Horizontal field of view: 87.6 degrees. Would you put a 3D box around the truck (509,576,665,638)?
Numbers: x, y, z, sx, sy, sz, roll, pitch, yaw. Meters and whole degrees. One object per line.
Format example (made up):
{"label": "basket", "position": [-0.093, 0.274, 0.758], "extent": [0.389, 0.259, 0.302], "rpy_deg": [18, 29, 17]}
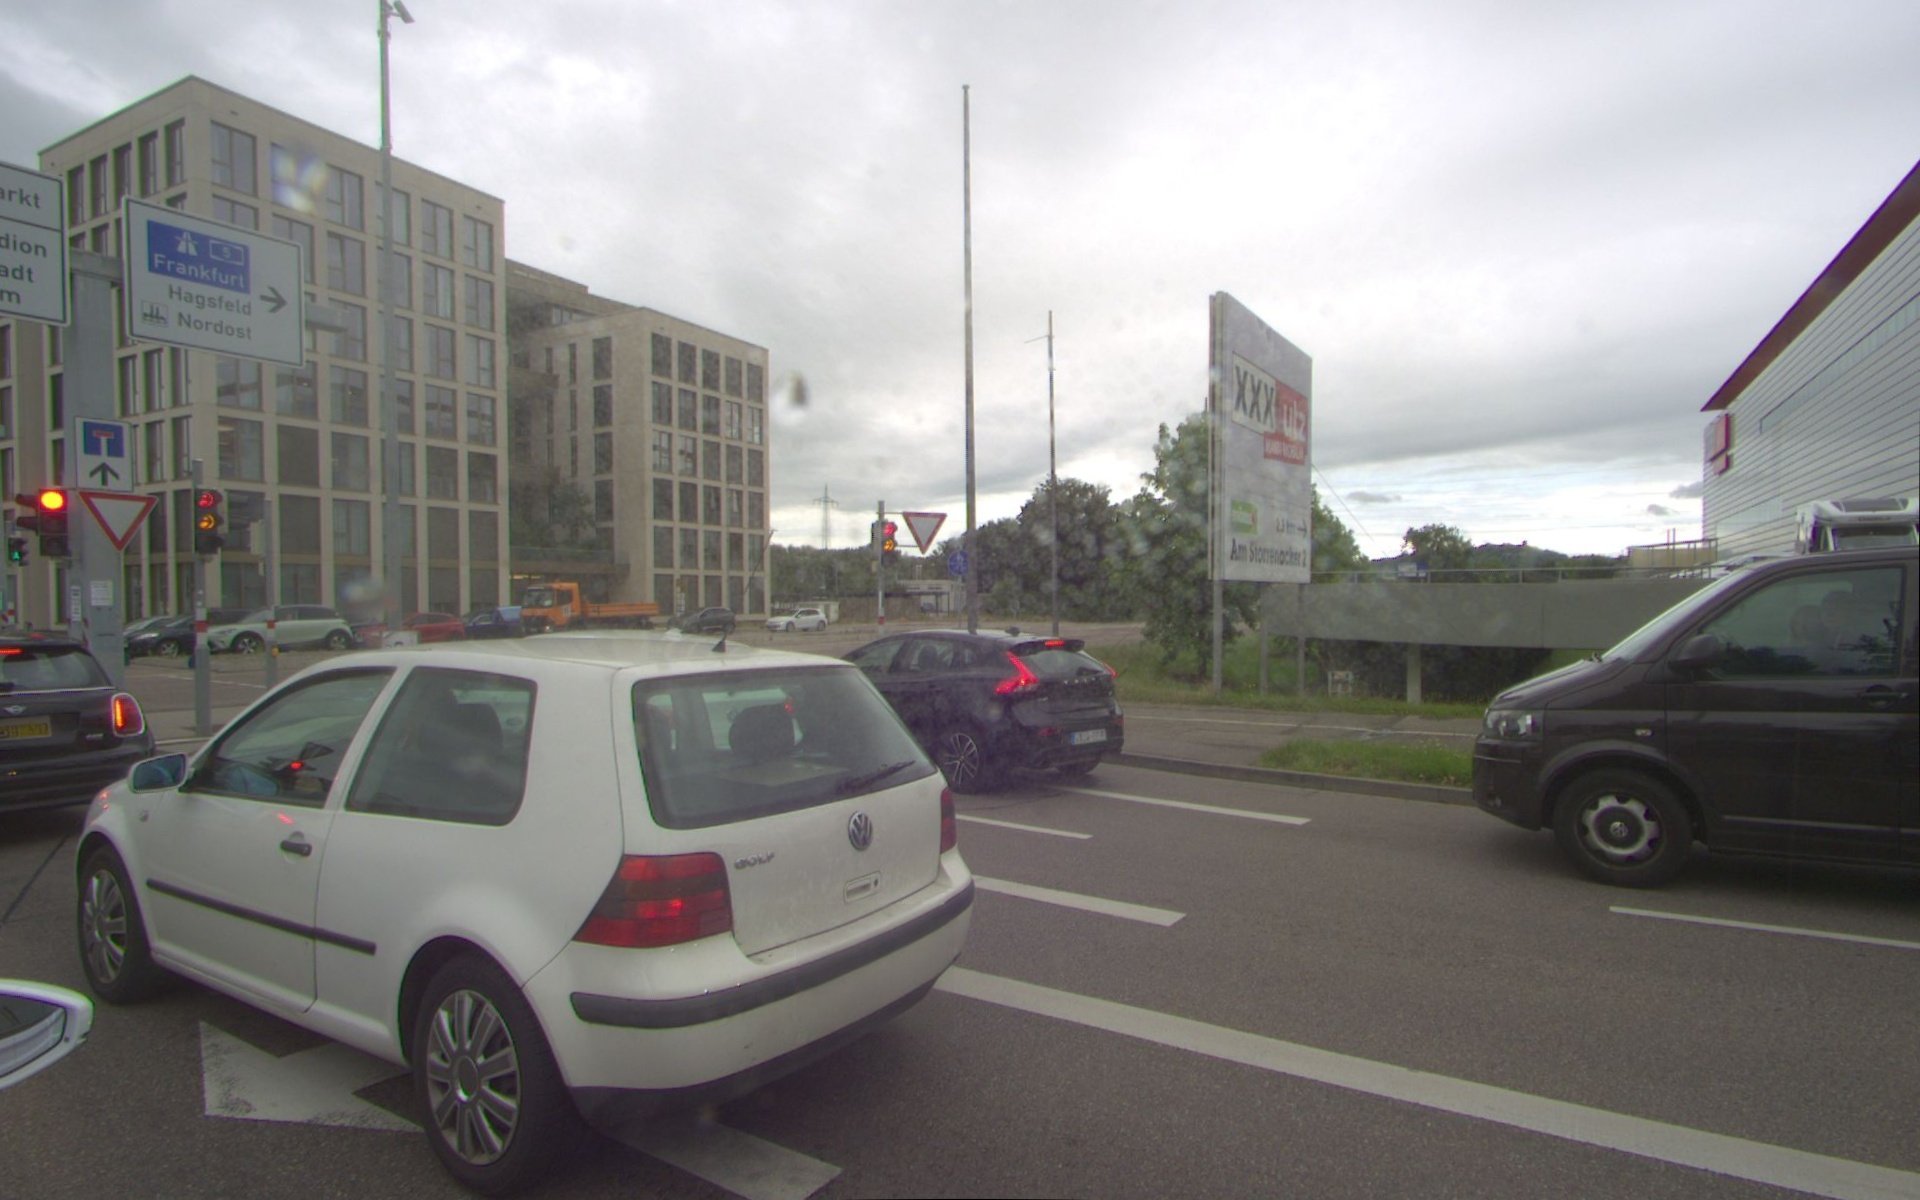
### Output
{"label": "truck", "position": [-17.332, 0.434, 46.988], "extent": [2.779, 2.672, 6.647], "rpy_deg": [-1, -2, 30]}

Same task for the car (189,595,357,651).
{"label": "car", "position": [-21.862, 0.779, 32.030], "extent": [1.875, 1.664, 4.055], "rpy_deg": [-1, -2, 27]}

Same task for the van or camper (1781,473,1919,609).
{"label": "van or camper", "position": [25.381, -1.440, 28.055], "extent": [2.676, 3.175, 7.201], "rpy_deg": [-1, -2, 32]}

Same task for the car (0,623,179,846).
{"label": "car", "position": [-7.644, 0.905, 7.468], "extent": [3.592, 1.433, 1.783], "rpy_deg": [-1, -2, 33]}

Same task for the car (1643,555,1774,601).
{"label": "car", "position": [30.947, -0.884, 41.571], "extent": [4.199, 1.697, 1.768], "rpy_deg": [-1, -2, 32]}

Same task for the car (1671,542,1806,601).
{"label": "car", "position": [30.086, -1.057, 38.880], "extent": [3.945, 2.039, 1.989], "rpy_deg": [-1, -2, 34]}

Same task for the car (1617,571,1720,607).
{"label": "car", "position": [36.366, -0.536, 51.505], "extent": [4.199, 1.697, 1.768], "rpy_deg": [-1, -2, 32]}

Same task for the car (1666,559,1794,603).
{"label": "car", "position": [33.356, -0.803, 43.524], "extent": [4.199, 1.697, 1.768], "rpy_deg": [-1, -2, 32]}

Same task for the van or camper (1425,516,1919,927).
{"label": "van or camper", "position": [5.521, 0.628, 5.753], "extent": [4.878, 2.039, 2.151], "rpy_deg": [-2, -2, 35]}

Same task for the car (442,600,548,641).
{"label": "car", "position": [-21.501, 0.995, 46.442], "extent": [1.969, 1.791, 4.134], "rpy_deg": [-1, -2, 28]}

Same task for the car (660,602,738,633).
{"label": "car", "position": [-15.032, 1.055, 57.862], "extent": [1.972, 1.678, 4.098], "rpy_deg": [-1, -2, 33]}

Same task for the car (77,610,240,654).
{"label": "car", "position": [-27.757, 1.118, 34.833], "extent": [1.724, 1.450, 4.083], "rpy_deg": [-1, -2, 28]}

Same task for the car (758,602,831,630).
{"label": "car", "position": [-10.471, 1.047, 63.533], "extent": [1.977, 1.678, 4.326], "rpy_deg": [-2, -2, 41]}

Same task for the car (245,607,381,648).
{"label": "car", "position": [-25.255, 1.113, 39.242], "extent": [1.843, 1.509, 4.134], "rpy_deg": [-1, -2, 28]}

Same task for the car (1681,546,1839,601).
{"label": "car", "position": [28.398, -0.890, 35.725], "extent": [4.199, 1.697, 1.768], "rpy_deg": [-1, -2, 32]}

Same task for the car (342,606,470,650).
{"label": "car", "position": [-21.636, 1.126, 39.252], "extent": [1.970, 1.622, 3.984], "rpy_deg": [-1, -2, 29]}

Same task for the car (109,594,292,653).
{"label": "car", "position": [-25.003, 0.806, 33.134], "extent": [1.969, 1.791, 4.405], "rpy_deg": [-1, -2, 28]}

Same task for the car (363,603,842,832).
{"label": "car", "position": [-3.085, 0.810, 8.275], "extent": [4.146, 1.428, 1.822], "rpy_deg": [-2, -2, 38]}

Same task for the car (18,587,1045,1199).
{"label": "car", "position": [-1.835, 0.790, 3.956], "extent": [3.948, 1.496, 1.829], "rpy_deg": [-1, -2, 32]}

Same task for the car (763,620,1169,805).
{"label": "car", "position": [-0.131, 0.978, 10.184], "extent": [1.885, 1.467, 4.144], "rpy_deg": [1, -2, -41]}
